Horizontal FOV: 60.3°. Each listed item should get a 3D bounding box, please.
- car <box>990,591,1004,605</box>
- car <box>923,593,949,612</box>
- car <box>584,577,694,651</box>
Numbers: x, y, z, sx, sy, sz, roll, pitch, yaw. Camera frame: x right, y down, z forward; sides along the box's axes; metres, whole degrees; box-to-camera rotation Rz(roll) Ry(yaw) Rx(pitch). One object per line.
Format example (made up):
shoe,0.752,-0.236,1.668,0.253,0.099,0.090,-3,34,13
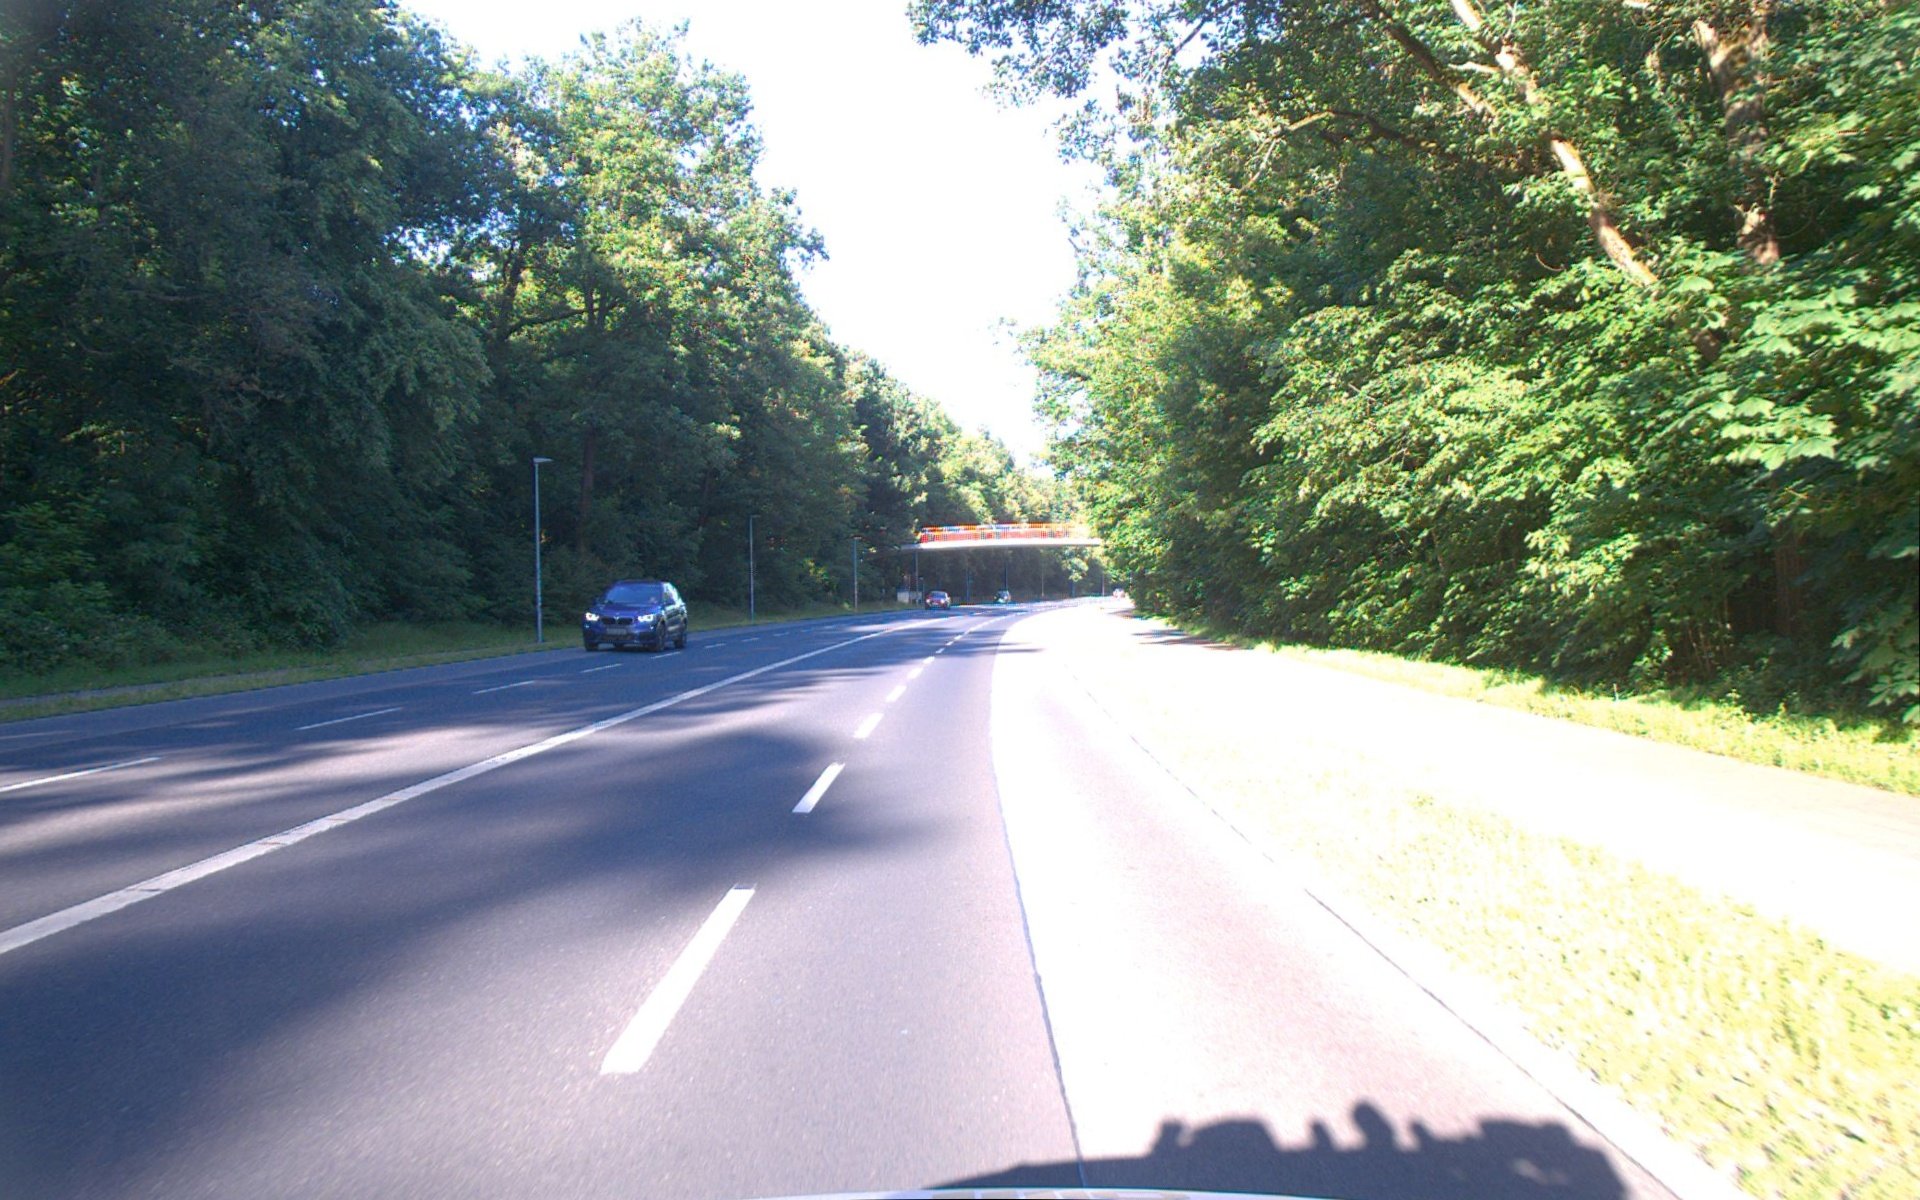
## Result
car,4.055,-0.223,180.538,1.464,1.470,3.501,0,0,3
car,-1.841,0.183,129.530,1.674,1.448,4.132,0,0,4
car,-7.667,0.310,39.897,1.770,1.692,4.522,0,0,0
